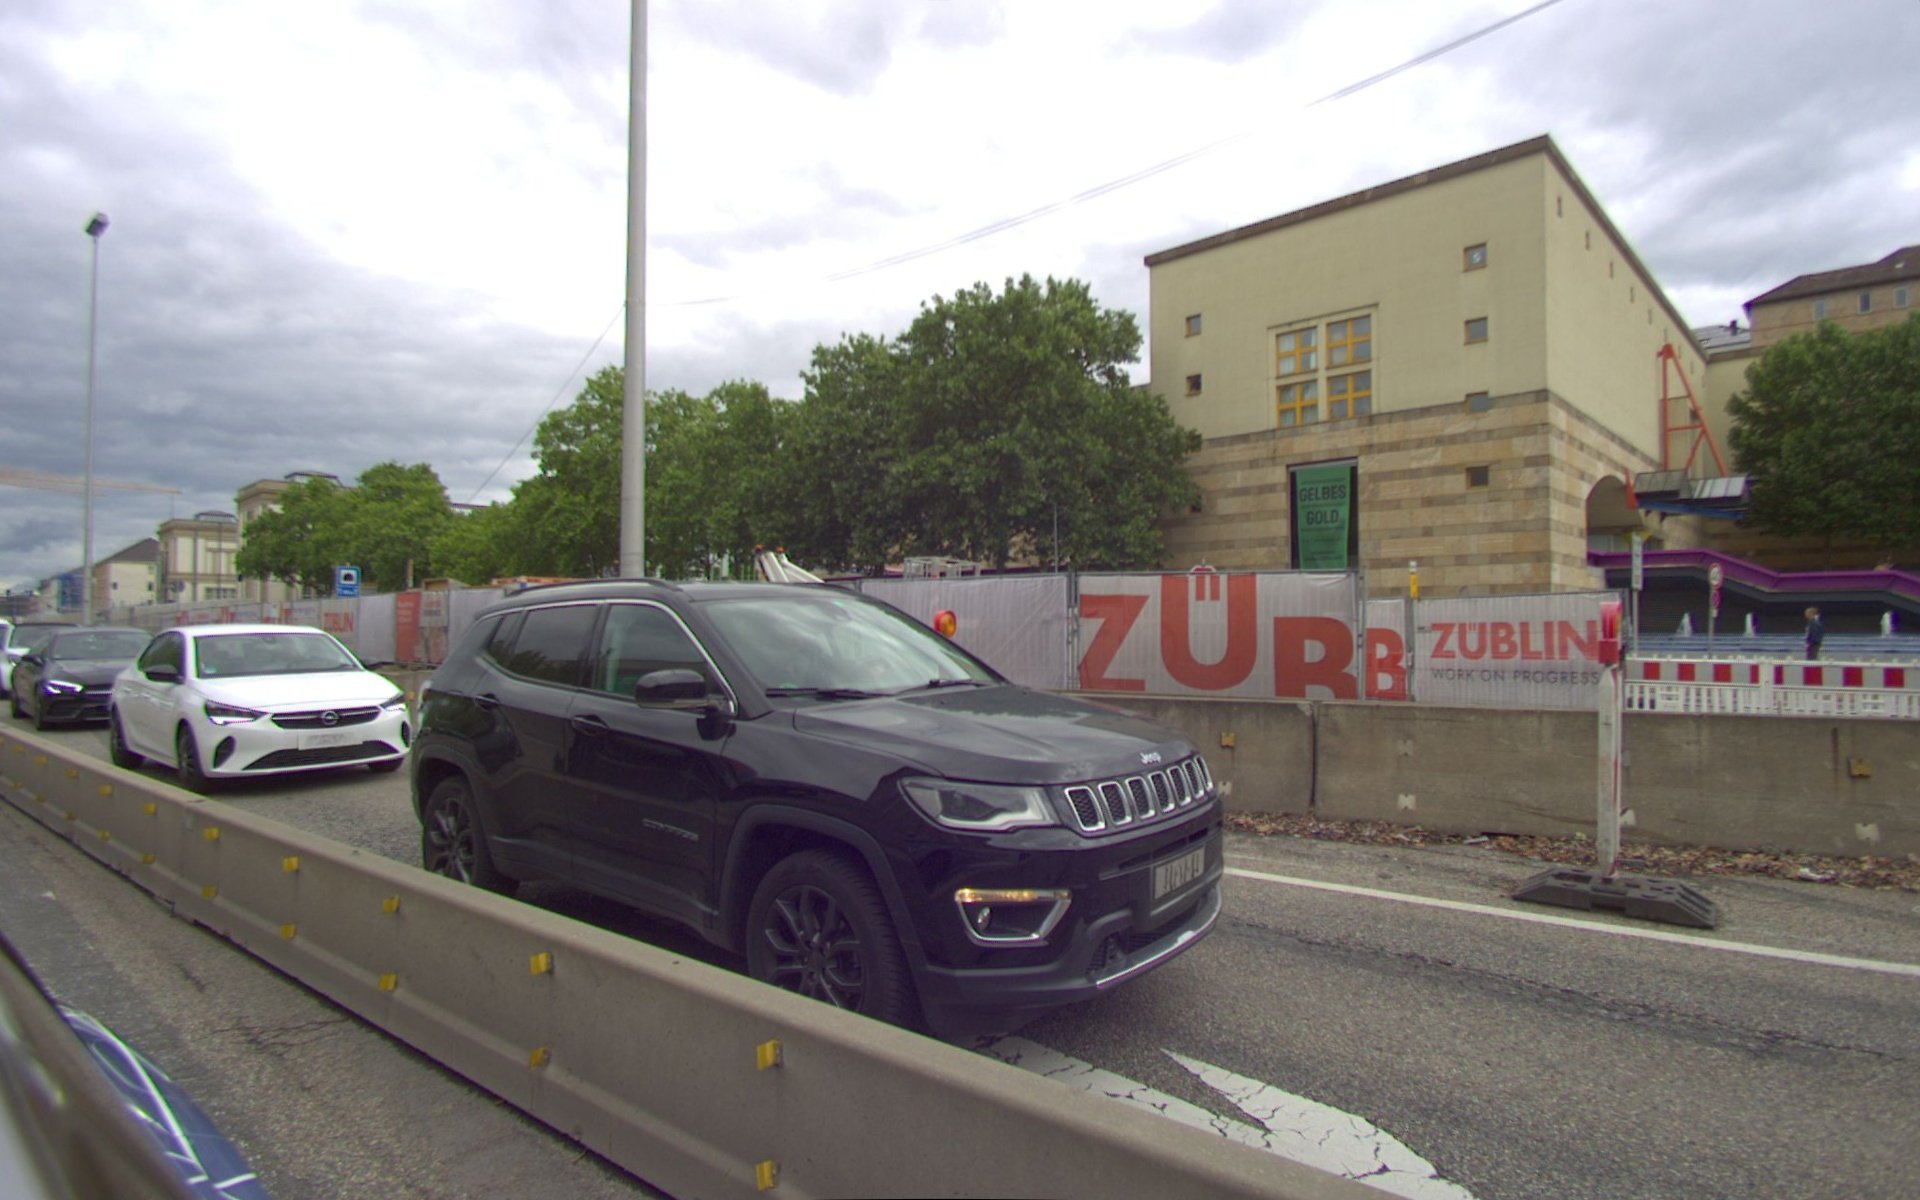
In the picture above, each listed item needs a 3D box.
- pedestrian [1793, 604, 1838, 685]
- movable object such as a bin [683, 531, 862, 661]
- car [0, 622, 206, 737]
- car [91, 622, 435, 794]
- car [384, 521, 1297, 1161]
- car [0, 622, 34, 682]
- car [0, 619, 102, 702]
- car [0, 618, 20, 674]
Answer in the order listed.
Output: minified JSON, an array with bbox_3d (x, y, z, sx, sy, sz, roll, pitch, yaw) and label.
[{"bbox_3d":[21.927,1.119,25.930,0.815,2.029,0.836,-1,1,44],"label":"pedestrian"},{"bbox_3d":[-3.514,-0.032,18.768,3.289,2.202,1.507,-2,-2,39],"label":"movable object such as a bin"},{"bbox_3d":[-13.074,1.074,15.233,4.563,1.426,1.835,-1,0,41],"label":"car"},{"bbox_3d":[-6.861,0.884,9.820,3.930,1.306,1.709,-1,0,39],"label":"car"},{"bbox_3d":[-0.801,0.633,4.548,4.041,1.633,1.759,-1,0,39],"label":"car"},{"bbox_3d":[-24.662,1.289,25.443,3.933,1.450,1.630,-1,-1,41],"label":"car"},{"bbox_3d":[-19.202,1.199,21.078,3.000,1.566,1.613,-1,-1,41],"label":"car"},{"bbox_3d":[-32.148,1.475,32.931,4.478,1.774,1.818,-1,-2,41],"label":"car"}]
